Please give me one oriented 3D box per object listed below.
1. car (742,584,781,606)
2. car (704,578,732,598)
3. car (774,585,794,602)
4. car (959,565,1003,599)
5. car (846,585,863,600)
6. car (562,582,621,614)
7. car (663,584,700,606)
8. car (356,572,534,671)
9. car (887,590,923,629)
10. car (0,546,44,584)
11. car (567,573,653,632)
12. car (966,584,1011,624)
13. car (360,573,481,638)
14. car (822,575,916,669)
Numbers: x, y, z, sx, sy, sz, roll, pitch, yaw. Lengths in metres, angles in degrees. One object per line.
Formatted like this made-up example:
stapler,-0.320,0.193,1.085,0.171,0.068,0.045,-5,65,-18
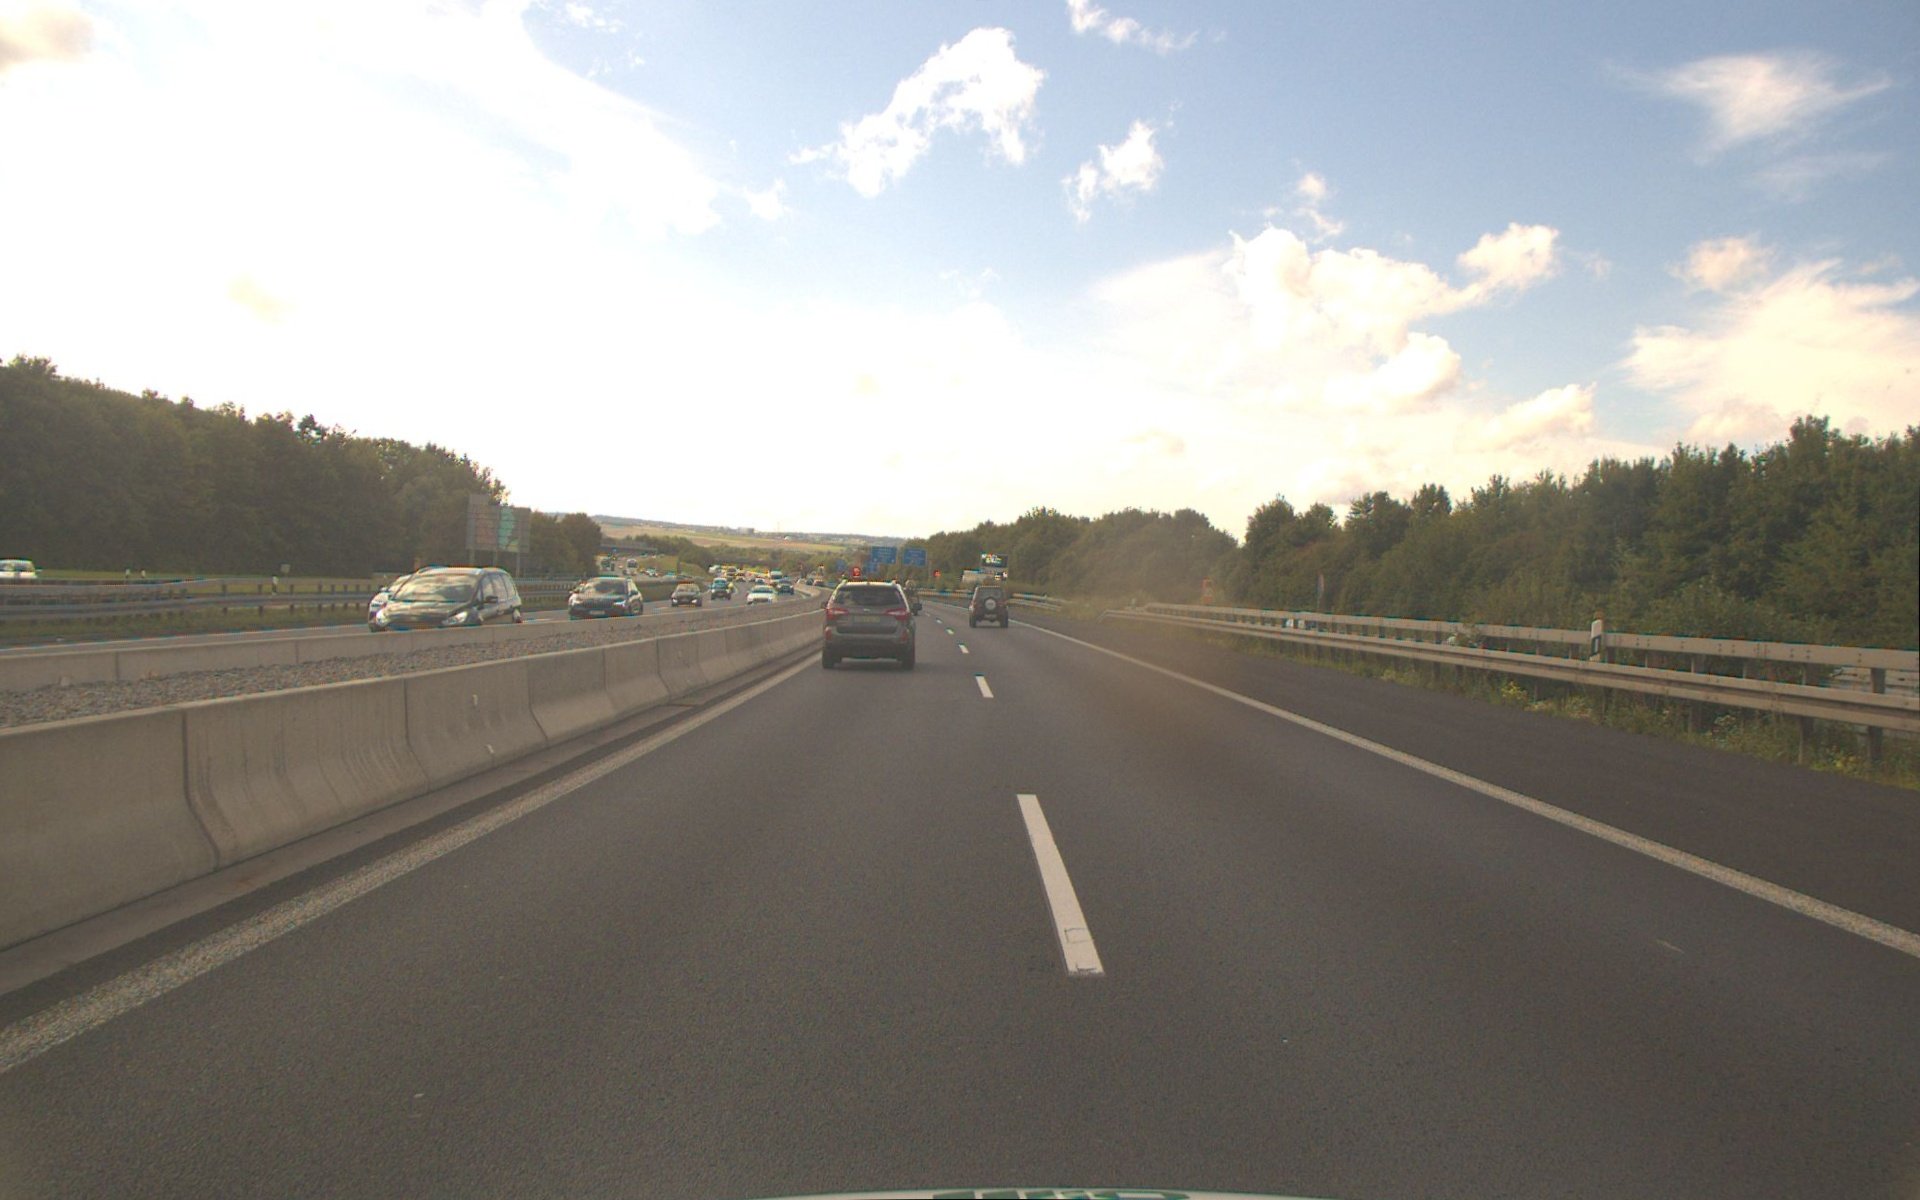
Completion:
car,-12.645,-0.322,105.622,2.005,1.361,5.606,1,0,-2
car,-21.637,-1.039,147.962,1.954,1.721,4.371,1,0,-3
car,-20.485,-0.764,192.261,1.954,1.953,5.146,2,0,-3
car,2.839,-2.483,230.140,4.638,4.341,11.385,1,-1,-7
car,-12.978,-0.958,203.075,1.954,1.713,3.996,1,-1,-4
car,-17.633,-0.099,79.300,1.848,1.454,4.577,1,0,-1
car,-18.256,-0.352,108.427,1.831,1.361,4.227,1,0,-2
car,-9.824,0.377,31.977,1.847,1.733,4.966,1,0,0
car,-3.200,0.536,97.329,1.989,2.189,3.999,1,0,-1
car,-38.401,-1.419,67.339,1.761,1.456,4.584,1,0,-27
car,-11.446,0.057,54.410,1.848,1.816,4.951,1,0,-1
car,1.212,0.153,70.852,1.556,1.625,4.093,1,0,-4
car,-14.589,0.131,45.001,1.848,1.638,4.964,1,0,-3
car,-1.835,0.445,34.559,1.781,1.766,5.184,1,0,-2
